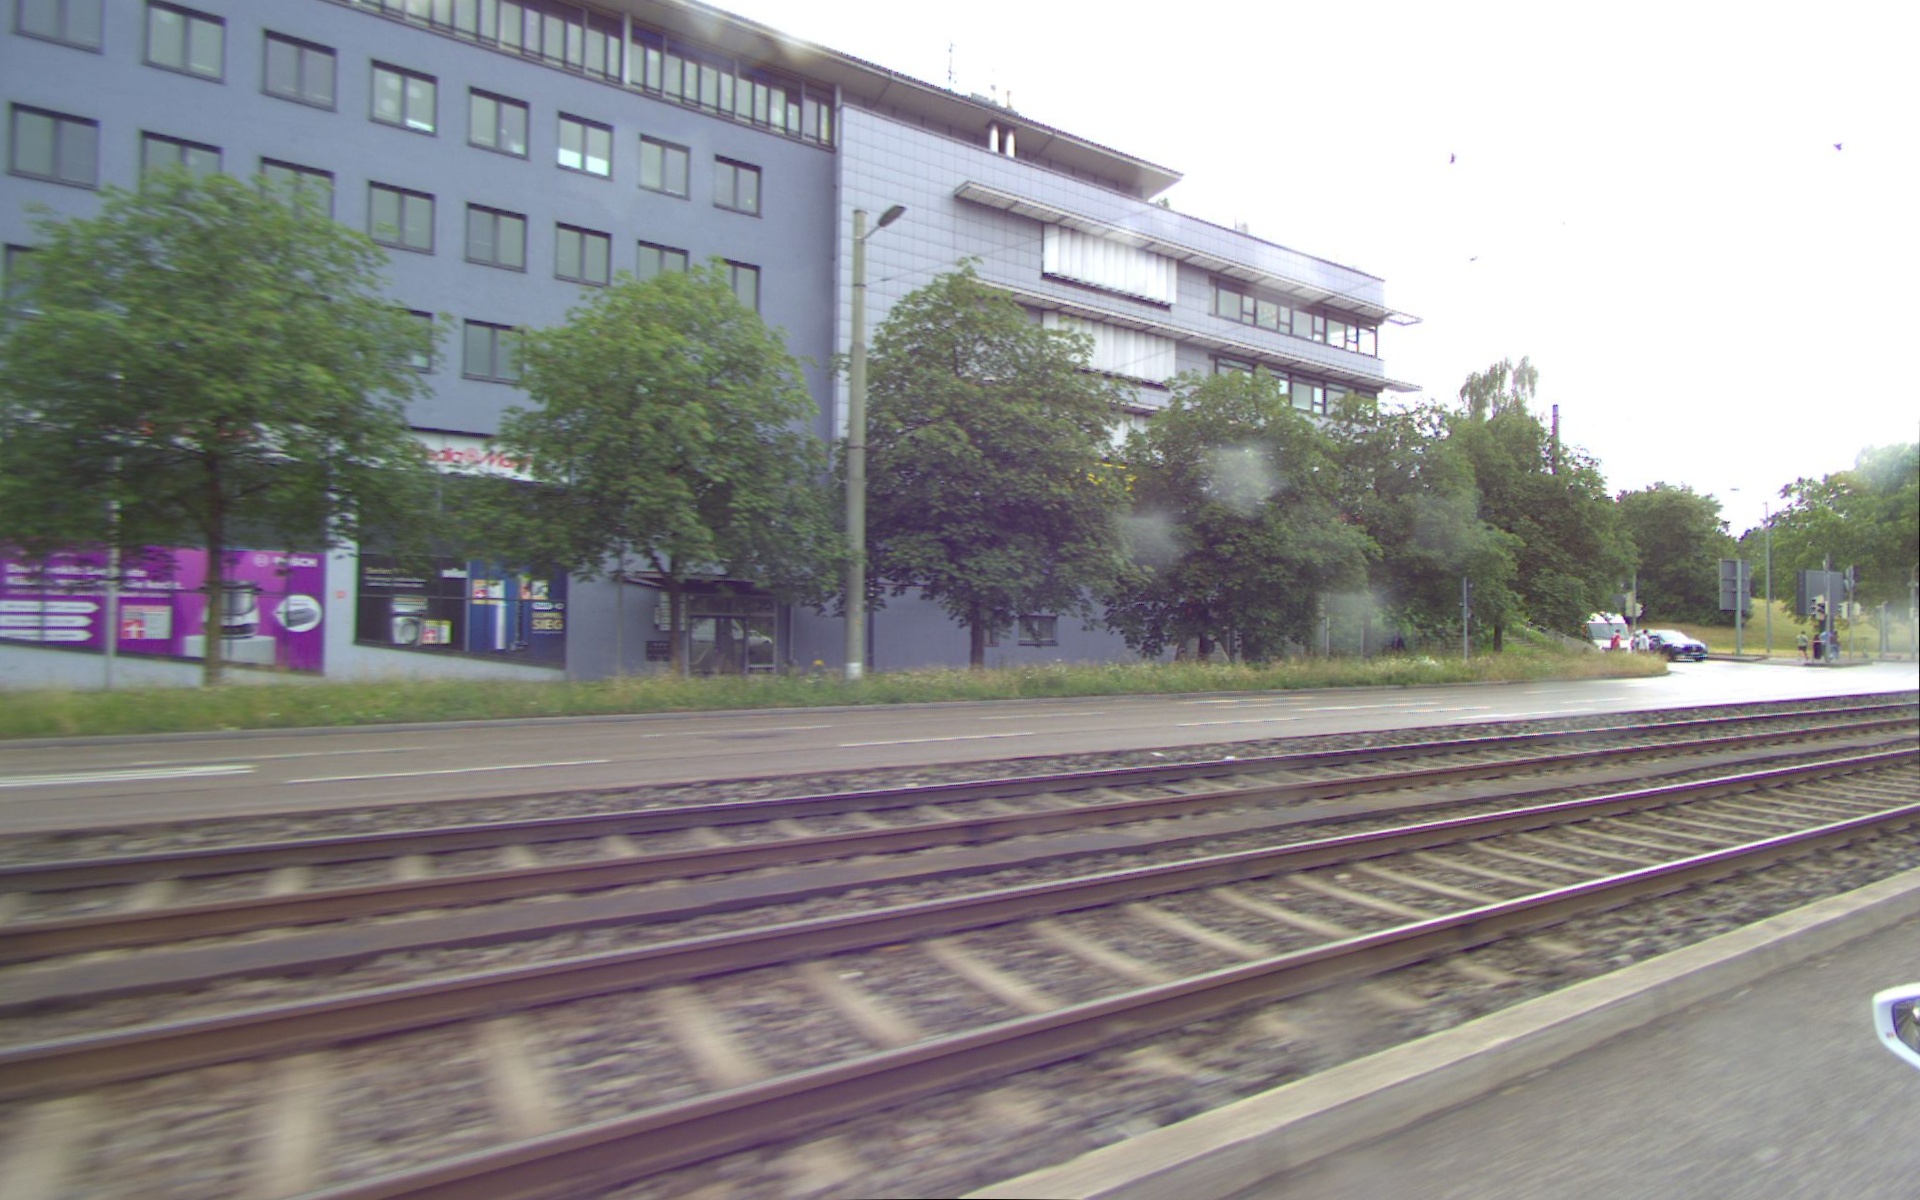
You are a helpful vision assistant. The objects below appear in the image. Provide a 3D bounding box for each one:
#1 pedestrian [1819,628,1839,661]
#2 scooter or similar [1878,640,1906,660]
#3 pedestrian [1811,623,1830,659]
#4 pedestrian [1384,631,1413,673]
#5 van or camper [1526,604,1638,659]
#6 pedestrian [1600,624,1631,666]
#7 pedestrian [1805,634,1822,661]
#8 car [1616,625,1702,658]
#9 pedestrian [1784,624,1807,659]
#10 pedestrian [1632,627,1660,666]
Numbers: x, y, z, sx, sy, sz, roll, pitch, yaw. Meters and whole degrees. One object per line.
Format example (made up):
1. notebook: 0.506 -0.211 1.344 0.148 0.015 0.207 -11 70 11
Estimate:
1. pedestrian: 48.363 2.469 55.885 0.821 1.811 0.504 1 1 -26
2. scooter or similar: 58.149 3.119 62.660 1.254 1.177 0.380 0 -1 15
3. pedestrian: 48.230 2.302 56.315 0.712 1.982 0.494 1 1 -27
4. pedestrian: 19.248 2.260 44.090 0.866 1.779 0.722 1 1 -28
5. van or camper: 36.595 1.805 59.476 2.441 3.006 7.378 0 -1 4
6. pedestrian: 32.419 2.217 49.703 0.927 2.040 0.890 1 -1 -1
7. pedestrian: 49.347 2.755 58.059 0.713 1.493 0.493 1 1 -29
8. car: 40.332 2.375 58.112 1.960 1.755 4.633 0 0 3
9. pedestrian: 48.776 2.417 58.628 0.857 2.040 0.881 1 -1 -36
10. pedestrian: 33.426 2.269 48.970 0.935 1.892 0.636 1 -1 1
